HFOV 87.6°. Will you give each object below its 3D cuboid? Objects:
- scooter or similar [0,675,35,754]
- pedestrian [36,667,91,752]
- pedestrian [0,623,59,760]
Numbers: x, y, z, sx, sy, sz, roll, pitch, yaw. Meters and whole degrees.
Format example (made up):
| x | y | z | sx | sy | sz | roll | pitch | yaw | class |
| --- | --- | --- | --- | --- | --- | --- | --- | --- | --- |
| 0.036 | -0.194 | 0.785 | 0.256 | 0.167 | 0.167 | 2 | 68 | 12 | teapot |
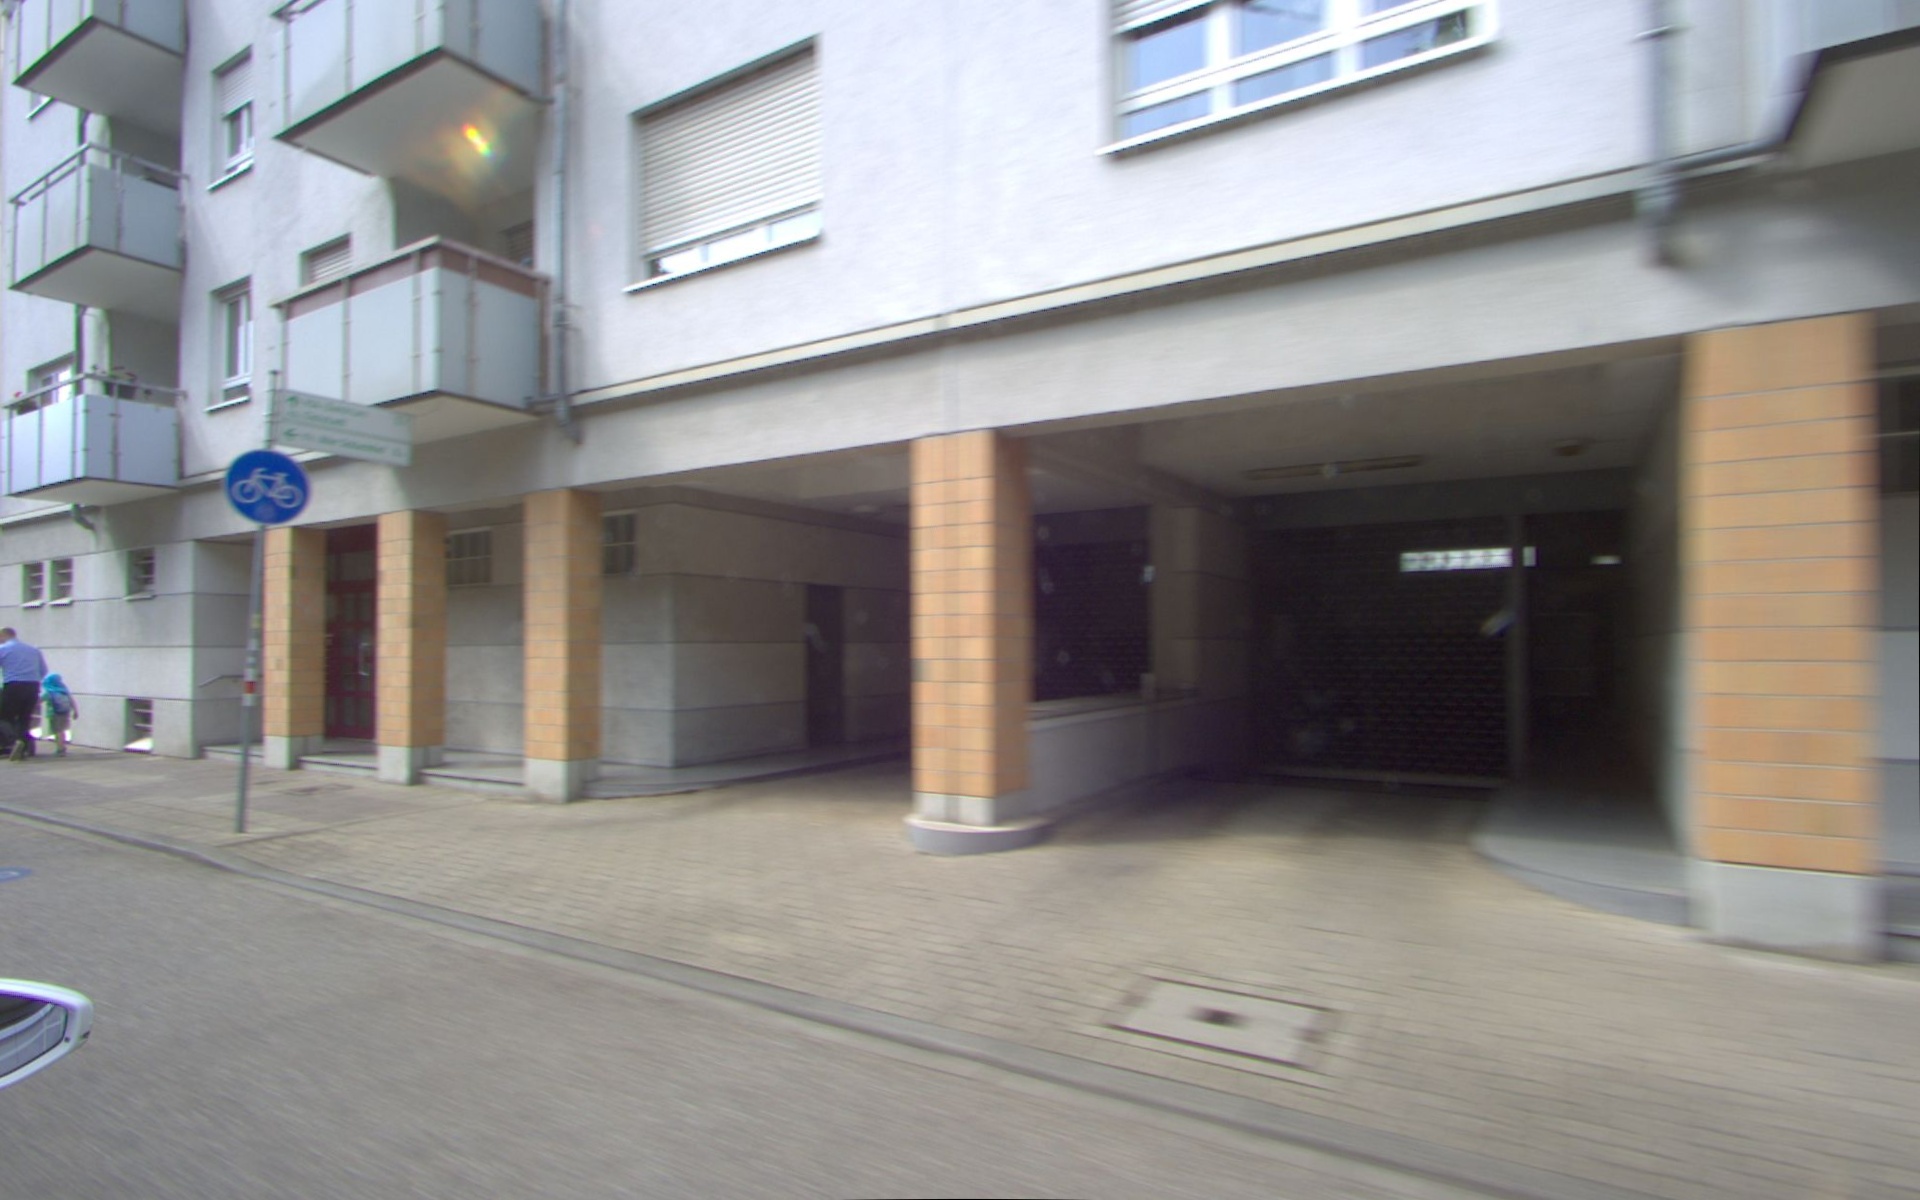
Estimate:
| x | y | z | sx | sy | sz | roll | pitch | yaw | class |
| --- | --- | --- | --- | --- | --- | --- | --- | --- | --- |
| -13.320 | 1.582 | 13.811 | 0.893 | 1.016 | 0.591 | -1 | 2 | 33 | scooter or similar |
| -12.555 | 1.518 | 14.024 | 0.487 | 1.149 | 0.455 | -1 | -2 | 33 | pedestrian |
| -12.585 | 1.193 | 13.373 | 0.865 | 1.761 | 0.619 | -1 | -1 | 33 | pedestrian |
